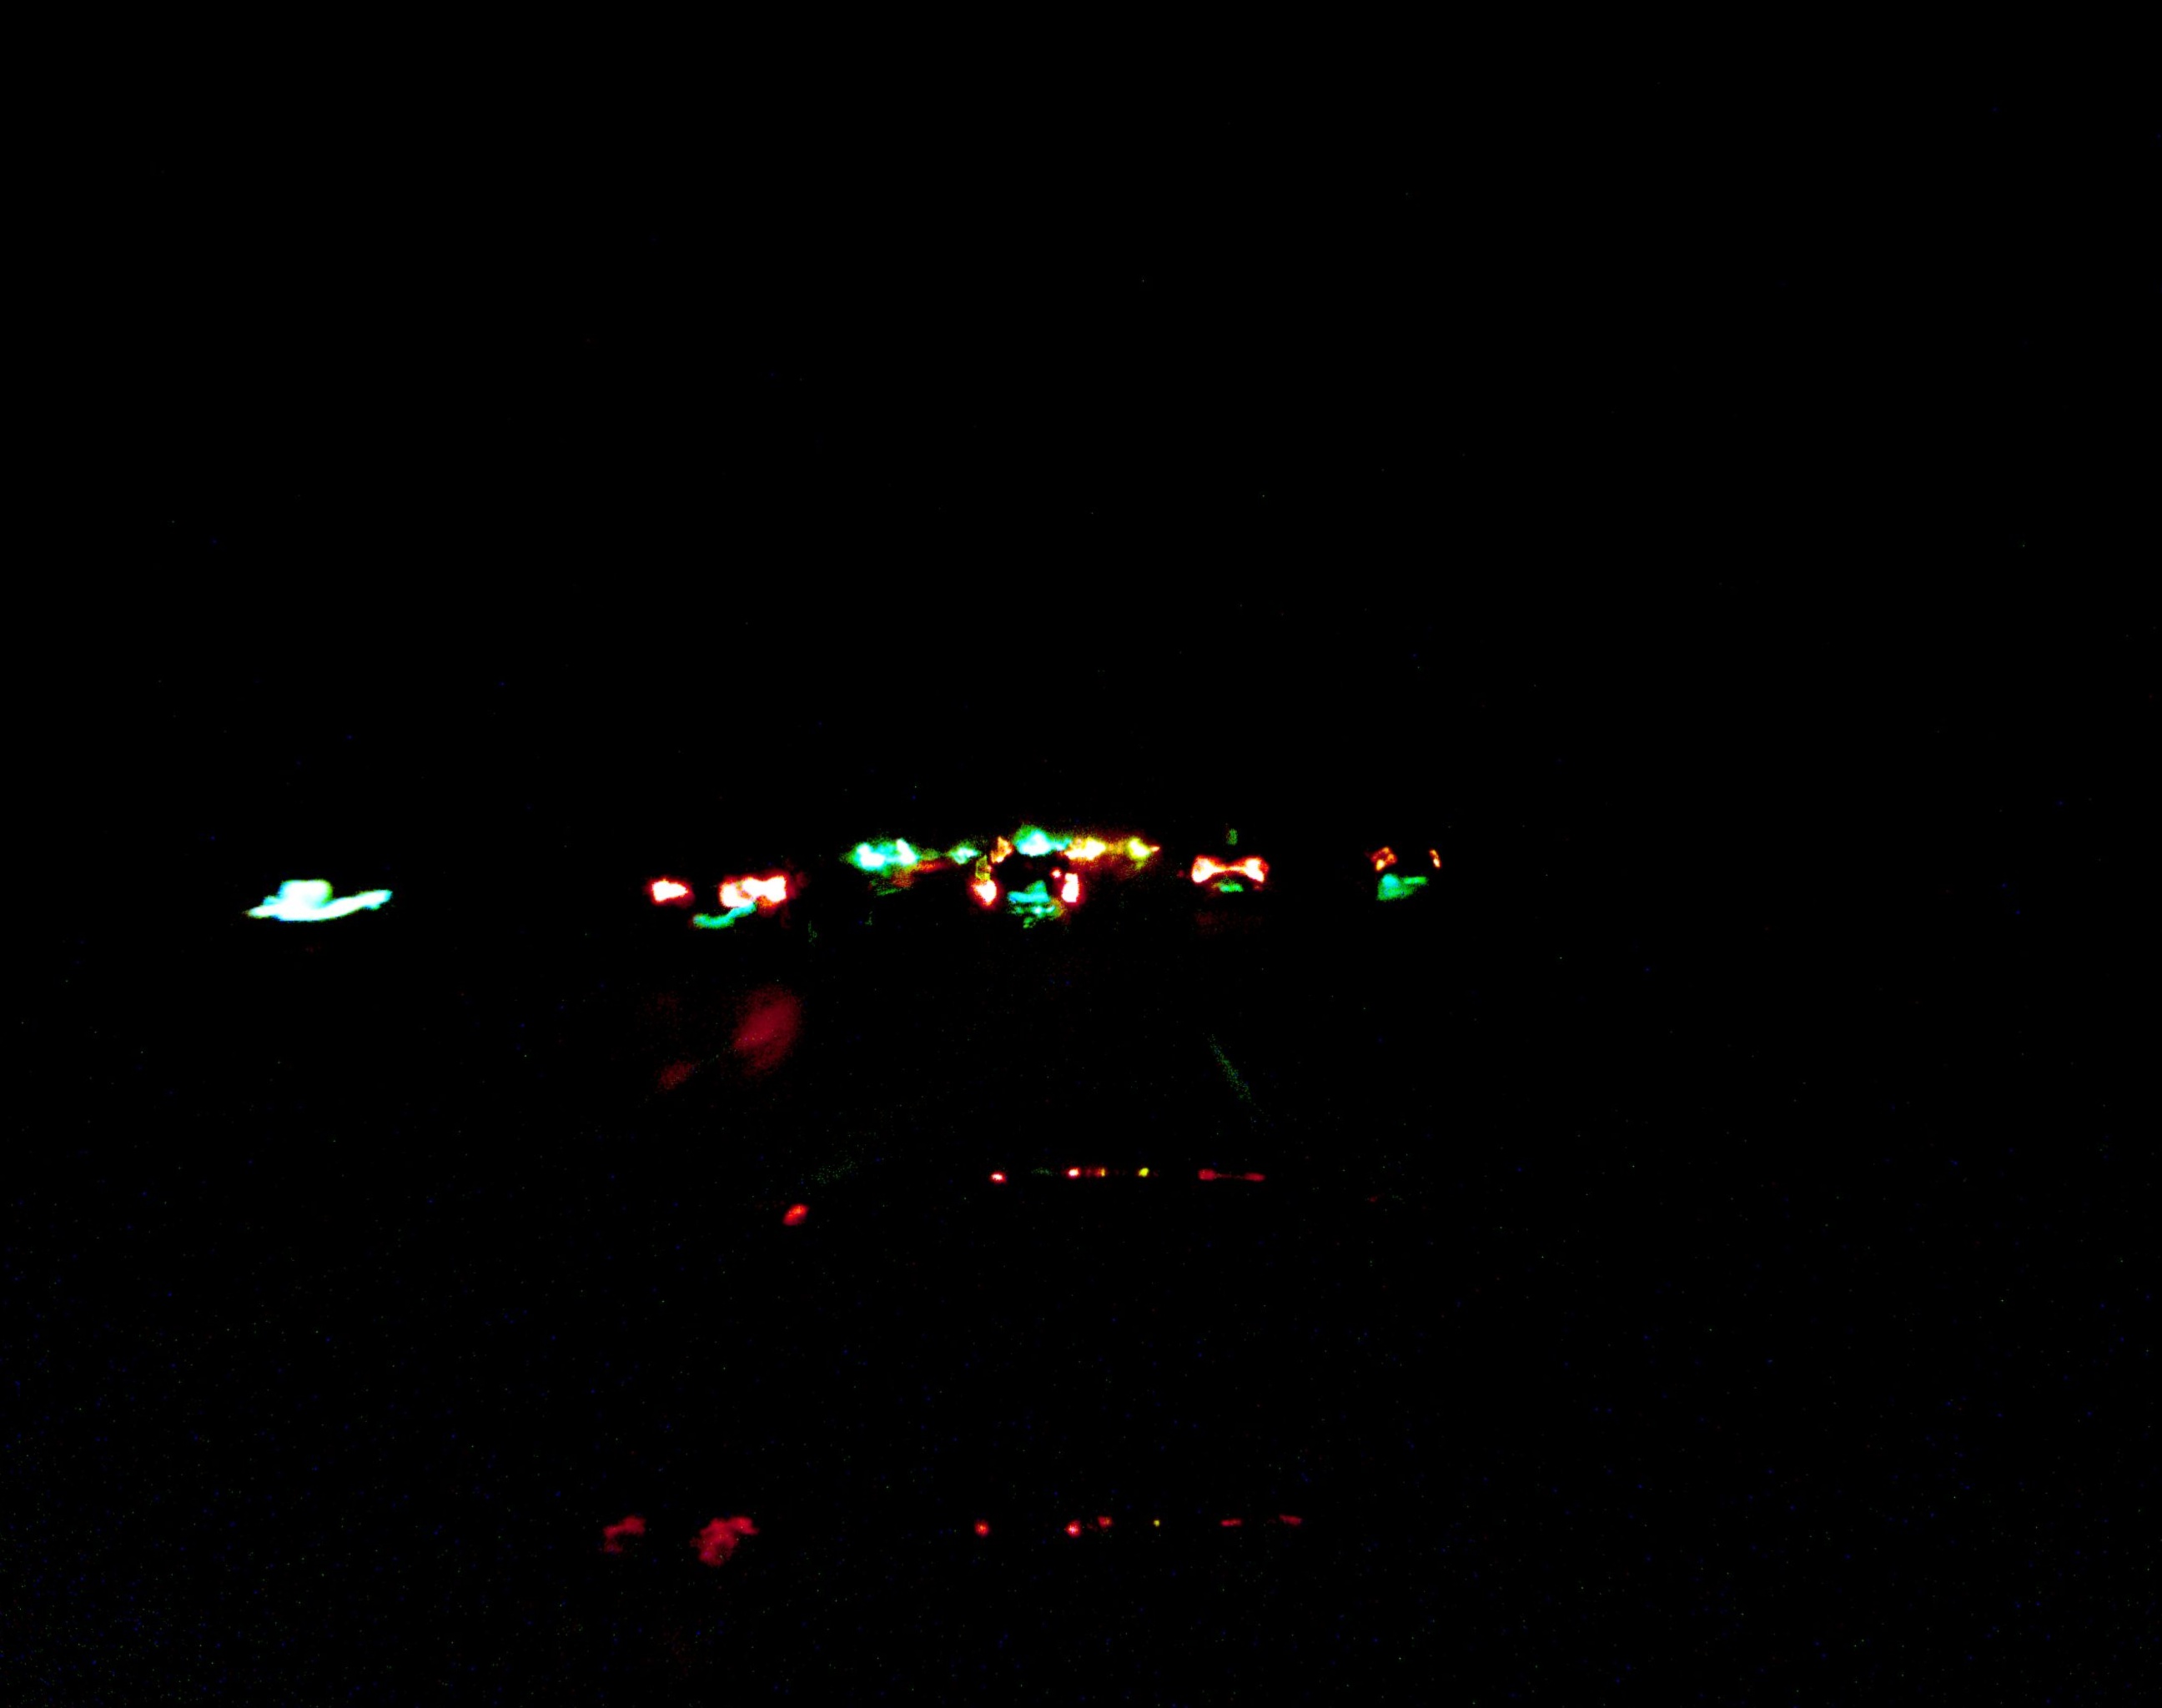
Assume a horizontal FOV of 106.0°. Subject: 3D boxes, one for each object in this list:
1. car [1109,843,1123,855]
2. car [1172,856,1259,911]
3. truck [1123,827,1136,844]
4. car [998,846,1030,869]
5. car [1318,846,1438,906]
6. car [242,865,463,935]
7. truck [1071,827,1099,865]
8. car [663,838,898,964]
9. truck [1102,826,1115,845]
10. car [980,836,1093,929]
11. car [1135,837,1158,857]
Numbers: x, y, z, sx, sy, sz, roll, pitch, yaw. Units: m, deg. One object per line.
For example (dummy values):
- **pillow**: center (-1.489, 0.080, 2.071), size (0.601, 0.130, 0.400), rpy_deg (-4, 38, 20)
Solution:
- **car**: center (4.927, -0.723, 114.183), size (1.855, 1.618, 4.003), rpy_deg (-1, 1, 2)
- **car**: center (3.370, 0.702, 20.873), size (1.577, 1.246, 3.065), rpy_deg (-1, 1, -3)
- **truck**: center (9.100, -3.453, 153.155), size (1.986, 3.042, 6.469), rpy_deg (-4, 0, 2)
- **car**: center (-4.144, 0.214, 50.983), size (1.657, 1.236, 3.760), rpy_deg (-4, 0, -1)
- **car**: center (6.866, 0.456, 19.111), size (1.577, 1.246, 3.065), rpy_deg (-1, 1, -3)
- **car**: center (-17.065, 1.004, 19.376), size (1.647, 1.343, 3.999), rpy_deg (-1, 1, -1)
- **truck**: center (0.415, -0.679, 70.141), size (1.986, 3.042, 6.469), rpy_deg (-4, 0, 2)
- **car**: center (-4.428, 0.567, 12.945), size (1.852, 1.540, 4.752), rpy_deg (-1, 2, 1)
- **truck**: center (4.768, -3.149, 139.485), size (1.986, 3.042, 6.469), rpy_deg (-4, 0, 2)
- **car**: center (-0.698, 0.421, 15.214), size (1.795, 1.487, 4.001), rpy_deg (-1, 1, 1)
- **car**: center (5.646, -0.635, 70.870), size (1.855, 1.618, 4.003), rpy_deg (-1, 1, 2)
